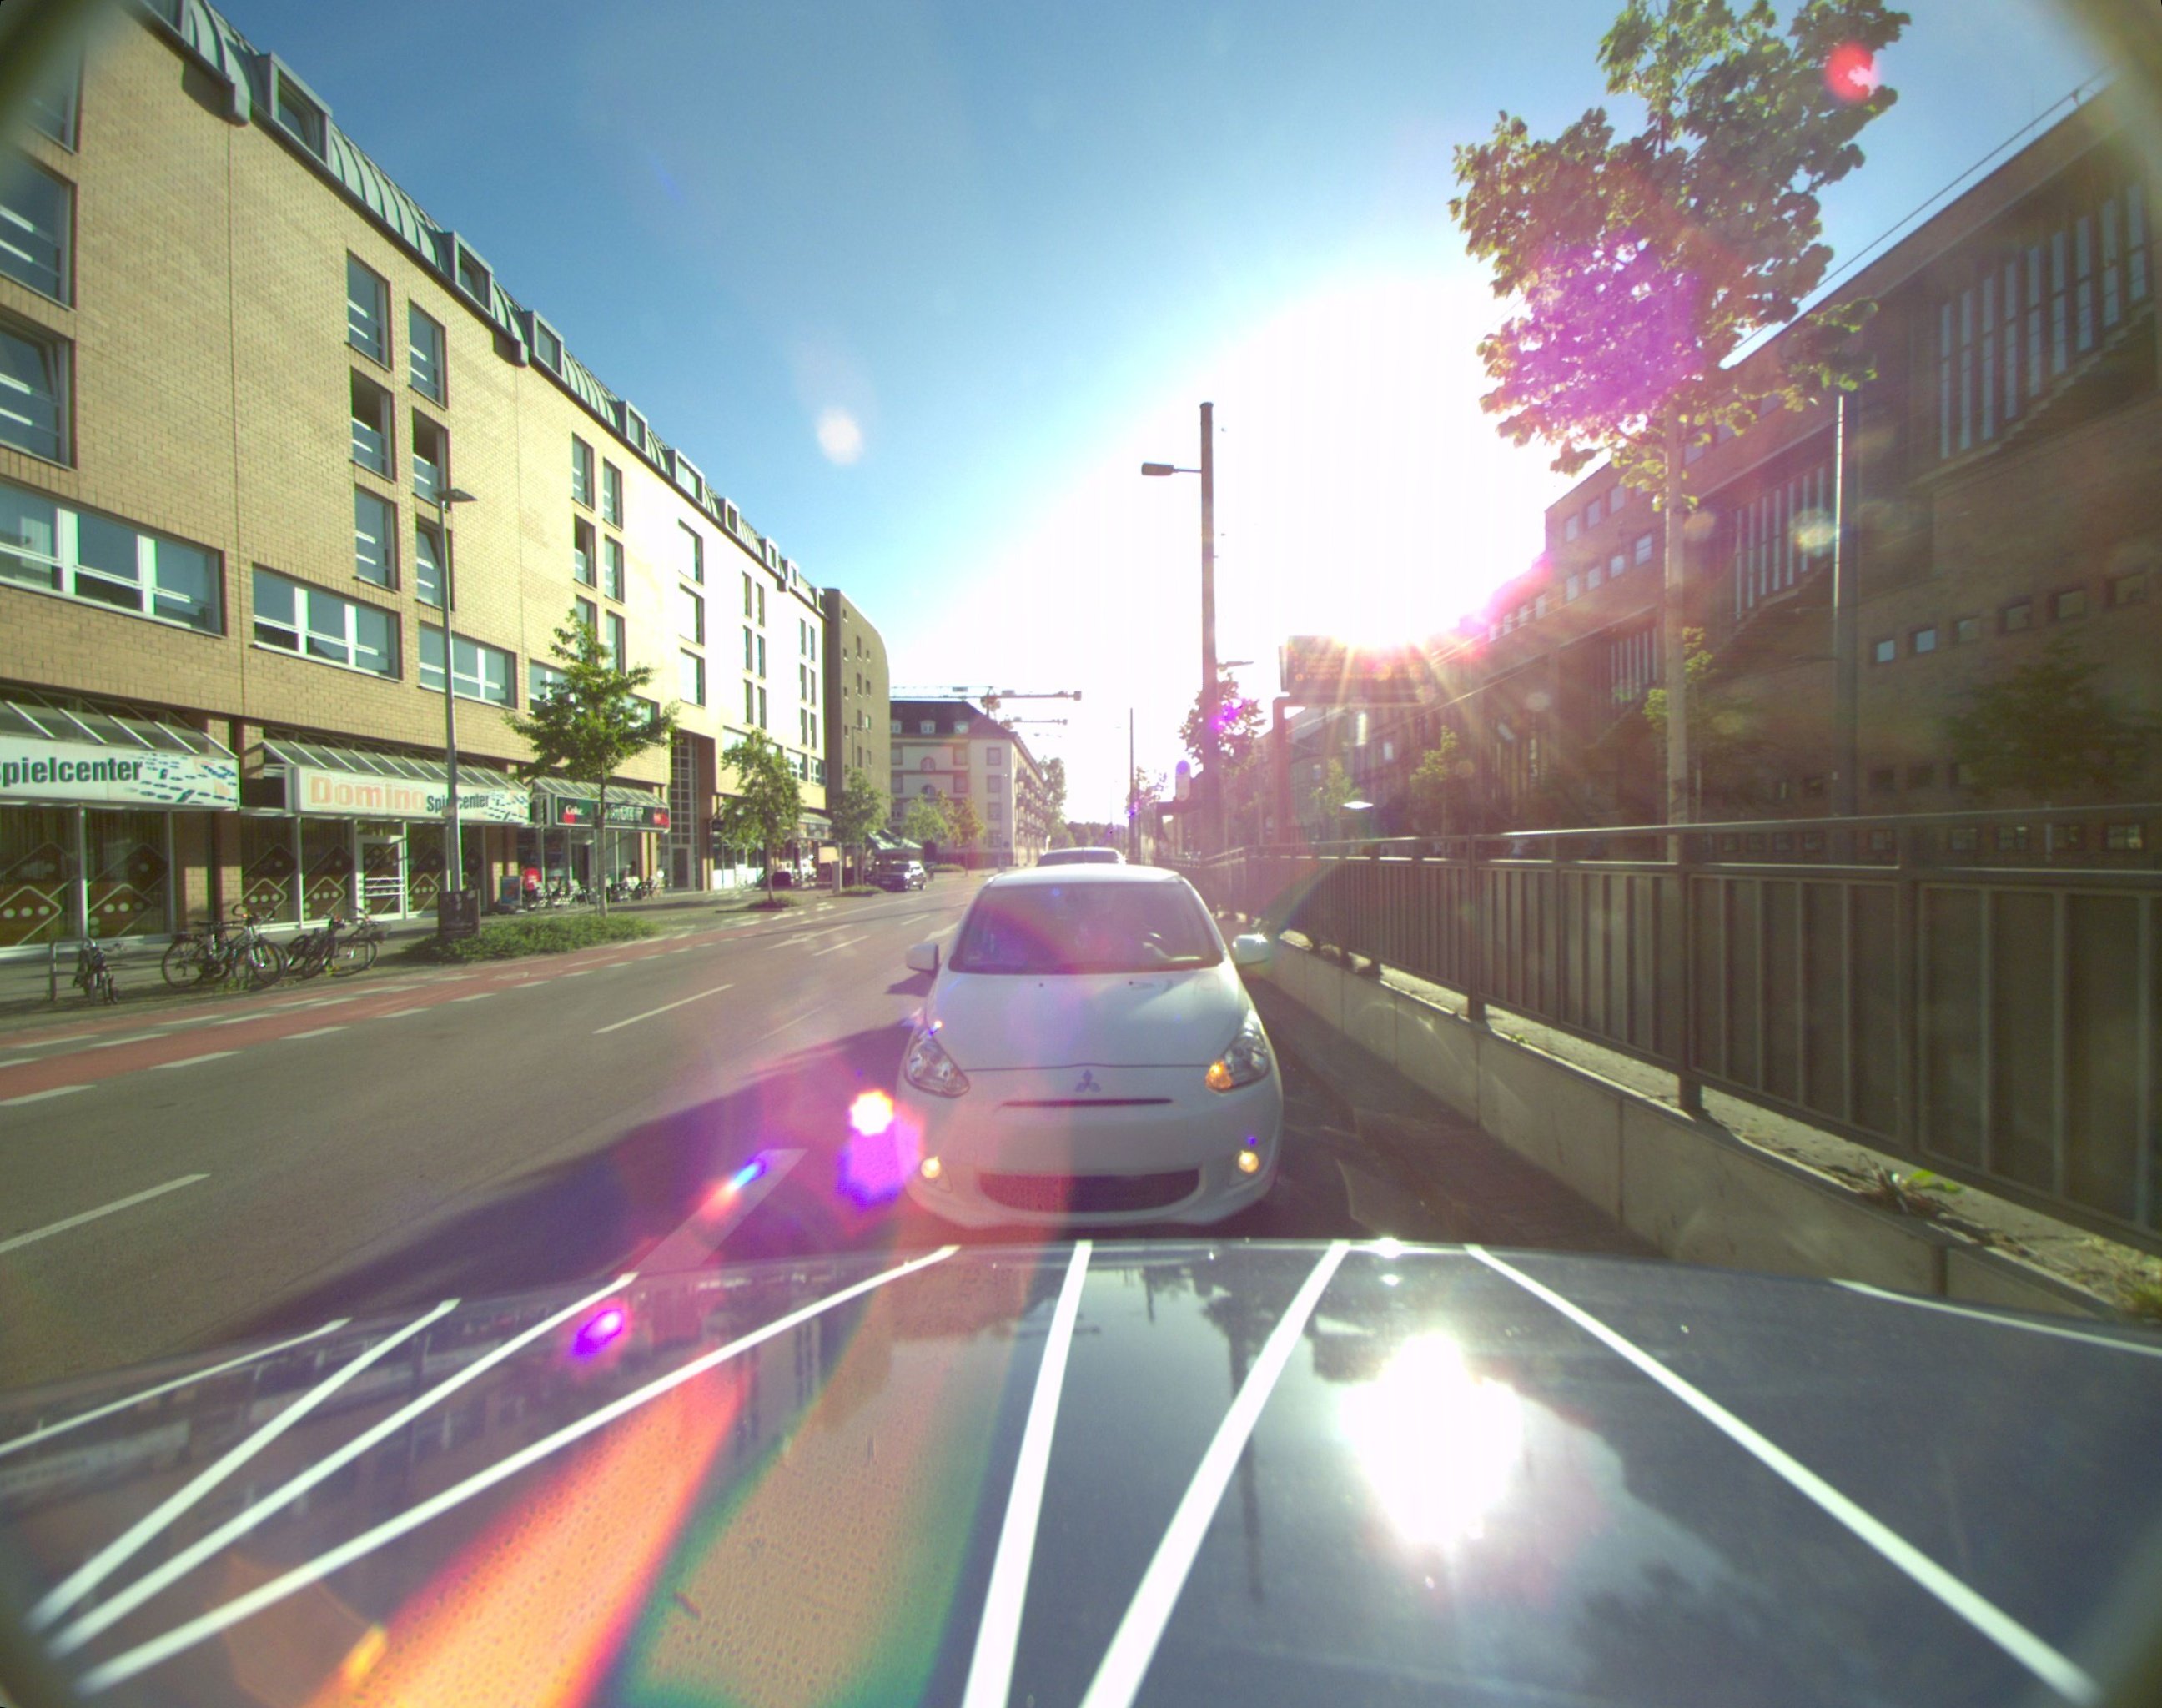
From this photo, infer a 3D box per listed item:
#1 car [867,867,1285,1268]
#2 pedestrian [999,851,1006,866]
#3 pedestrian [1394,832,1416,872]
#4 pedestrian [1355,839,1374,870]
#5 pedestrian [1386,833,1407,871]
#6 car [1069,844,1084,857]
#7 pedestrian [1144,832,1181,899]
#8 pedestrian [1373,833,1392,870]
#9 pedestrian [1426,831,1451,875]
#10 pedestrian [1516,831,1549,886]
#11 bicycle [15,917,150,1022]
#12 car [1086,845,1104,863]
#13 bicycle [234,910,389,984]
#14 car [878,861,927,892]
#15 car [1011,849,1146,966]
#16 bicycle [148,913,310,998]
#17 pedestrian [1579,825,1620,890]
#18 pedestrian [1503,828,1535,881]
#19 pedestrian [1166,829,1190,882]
[{"bbox_3d":[0.010,0.906,5.172,1.640,1.458,4.186,-2,1,1],"label":"car"},{"bbox_3d":[-8.915,0.524,86.459,0.804,1.656,0.891,-1,1,-7],"label":"pedestrian"},{"bbox_3d":[14.290,-0.077,33.477,0.692,1.732,0.586,-1,1,-2],"label":"pedestrian"},{"bbox_3d":[14.448,0.030,38.750,0.692,1.566,0.586,-1,1,-2],"label":"pedestrian"},{"bbox_3d":[14.486,-0.075,34.903,0.692,1.732,0.586,-1,1,-2],"label":"pedestrian"},{"bbox_3d":[-0.606,-0.407,96.350,1.829,1.644,3.682,-1,0,0],"label":"car"},{"bbox_3d":[2.502,0.349,23.258,0.782,2.002,0.882,0,1,32],"label":"pedestrian"},{"bbox_3d":[14.344,-0.140,36.157,0.692,1.732,0.586,-1,1,-2],"label":"pedestrian"},{"bbox_3d":[14.433,-0.049,30.695,0.692,1.732,0.586,-1,1,-2],"label":"pedestrian"},{"bbox_3d":[14.479,0.137,24.368,0.692,1.732,0.586,-1,1,-2],"label":"pedestrian"},{"bbox_3d":[-12.823,1.443,9.751,1.771,1.142,0.554,1,2,21],"label":"bicycle"},{"bbox_3d":[1.544,-0.011,86.912,1.998,1.958,4.000,-1,0,1],"label":"car"},{"bbox_3d":[-12.423,1.490,12.297,1.774,1.065,0.737,0,2,3],"label":"bicycle"},{"bbox_3d":[-9.776,1.194,41.814,1.655,1.521,3.693,-2,1,1],"label":"car"},{"bbox_3d":[-0.005,0.788,13.514,1.955,1.652,4.355,-2,1,1],"label":"car"},{"bbox_3d":[-12.385,1.462,11.066,1.774,1.135,0.553,0,2,3],"label":"bicycle"},{"bbox_3d":[13.954,0.093,20.449,0.692,1.732,0.586,-1,1,-2],"label":"pedestrian"},{"bbox_3d":[14.455,0.018,25.084,0.692,1.732,0.586,-1,1,-2],"label":"pedestrian"},{"bbox_3d":[3.740,0.070,29.418,0.784,2.002,0.880,-1,1,-1],"label":"pedestrian"}]
